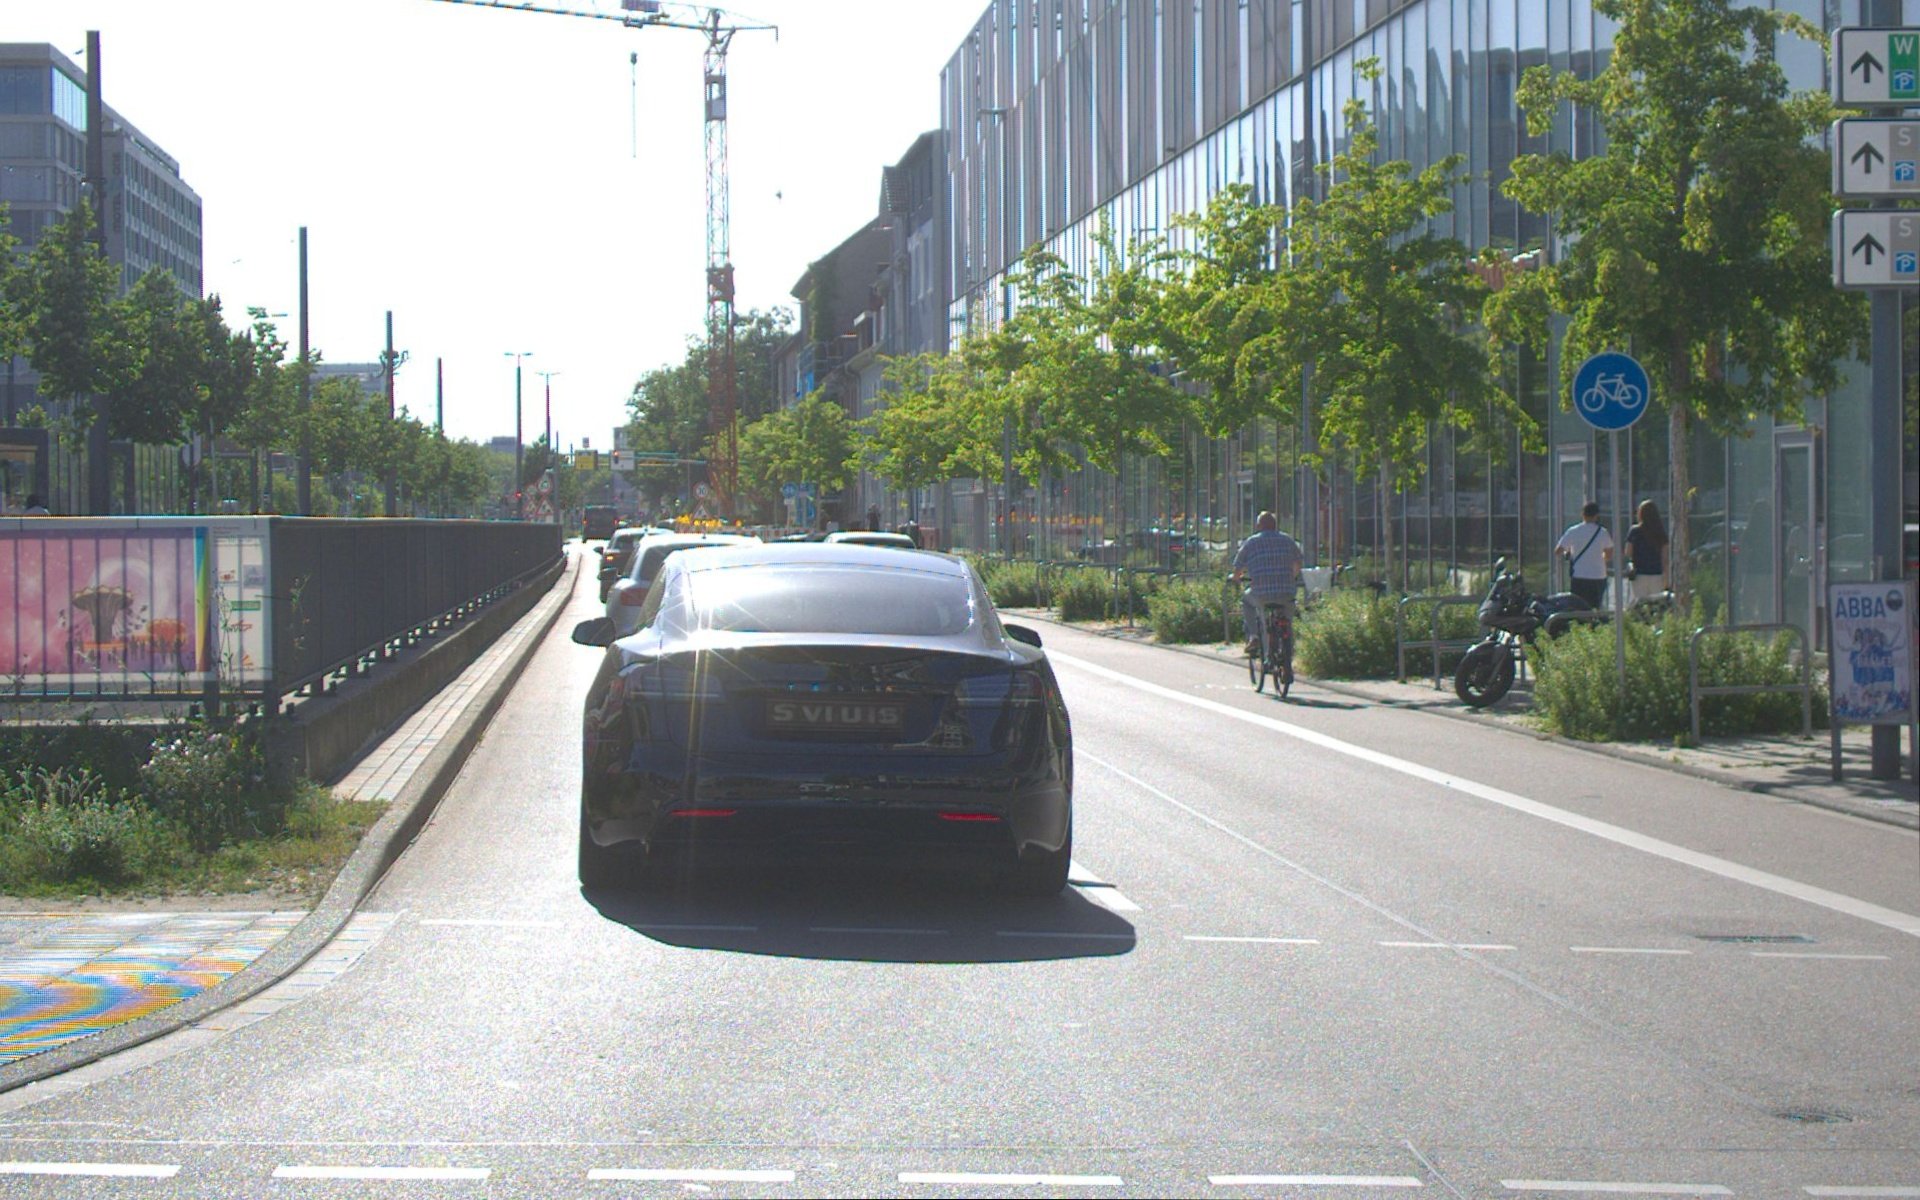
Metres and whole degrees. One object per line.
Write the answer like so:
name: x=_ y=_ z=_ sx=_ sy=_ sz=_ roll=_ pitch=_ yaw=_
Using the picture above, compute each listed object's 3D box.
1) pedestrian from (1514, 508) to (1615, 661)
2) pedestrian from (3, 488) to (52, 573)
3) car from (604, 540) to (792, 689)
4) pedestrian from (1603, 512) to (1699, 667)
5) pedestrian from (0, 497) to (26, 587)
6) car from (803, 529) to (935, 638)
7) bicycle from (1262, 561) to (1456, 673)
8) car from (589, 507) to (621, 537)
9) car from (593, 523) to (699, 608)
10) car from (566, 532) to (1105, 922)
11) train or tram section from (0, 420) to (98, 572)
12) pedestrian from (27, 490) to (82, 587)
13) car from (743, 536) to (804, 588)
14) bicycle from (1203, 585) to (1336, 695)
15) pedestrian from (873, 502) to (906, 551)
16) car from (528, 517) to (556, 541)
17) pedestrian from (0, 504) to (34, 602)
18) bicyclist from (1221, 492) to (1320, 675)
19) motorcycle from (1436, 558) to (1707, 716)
pedestrian: x=6.634 y=-0.180 z=37.761 sx=0.820 sy=1.652 sz=0.900 roll=0 pitch=1 yaw=-9
pedestrian: x=-17.902 y=-1.328 z=66.010 sx=0.741 sy=1.623 sz=0.862 roll=0 pitch=1 yaw=-4
car: x=-2.569 y=0.098 z=33.577 sx=1.716 sy=1.315 sz=4.001 roll=0 pitch=2 yaw=-5
pedestrian: x=7.567 y=-0.126 z=37.653 sx=0.706 sy=1.652 sz=0.900 roll=-2 pitch=1 yaw=-9
pedestrian: x=-17.422 y=-1.059 z=62.405 sx=0.741 sy=1.623 sz=0.947 roll=0 pitch=1 yaw=-4
car: x=-1.404 y=-0.278 z=51.486 sx=1.784 sy=1.540 sz=4.039 roll=0 pitch=2 yaw=-4
bicycle: x=4.508 y=0.182 z=38.969 sx=2.085 sy=1.201 sz=0.950 roll=-1 pitch=1 yaw=1
car: x=-21.519 y=-4.742 z=208.339 sx=1.813 sy=1.803 sz=4.039 roll=0 pitch=2 yaw=-4
car: x=-6.127 y=-0.701 z=67.443 sx=1.888 sy=1.590 sz=4.001 roll=0 pitch=2 yaw=-3
car: x=-0.592 y=0.472 z=15.129 sx=1.999 sy=1.429 sz=4.413 roll=1 pitch=0 yaw=-3
train or tram section: x=-22.343 y=-2.326 z=76.373 sx=2.870 sy=3.268 sz=22.148 roll=2 pitch=1 yaw=-6
pedestrian: x=-15.252 y=-1.039 z=57.909 sx=0.741 sy=1.623 sz=0.862 roll=0 pitch=1 yaw=-4
car: x=-5.903 y=-1.219 z=109.066 sx=1.888 sy=1.590 sz=4.001 roll=0 pitch=2 yaw=-3
bicycle: x=2.965 y=0.370 z=33.194 sx=0.728 sy=0.980 sz=2.334 roll=-1 pitch=1 yaw=-9
pedestrian: x=-2.690 y=-2.829 z=131.364 sx=1.095 sy=1.857 sz=1.523 roll=0 pitch=1 yaw=-7
car: x=-30.594 y=-5.218 z=251.662 sx=1.993 sy=1.678 sz=4.001 roll=1 pitch=1 yaw=-7
pedestrian: x=-16.031 y=-0.793 z=57.821 sx=0.741 sy=1.623 sz=0.862 roll=0 pitch=1 yaw=-4
bicyclist: x=2.981 y=-0.168 z=33.066 sx=0.724 sy=1.731 sz=0.998 roll=0 pitch=1 yaw=-9
motorcycle: x=5.345 y=0.312 z=30.143 sx=2.189 sy=1.319 sz=0.903 roll=-1 pitch=1 yaw=-1
